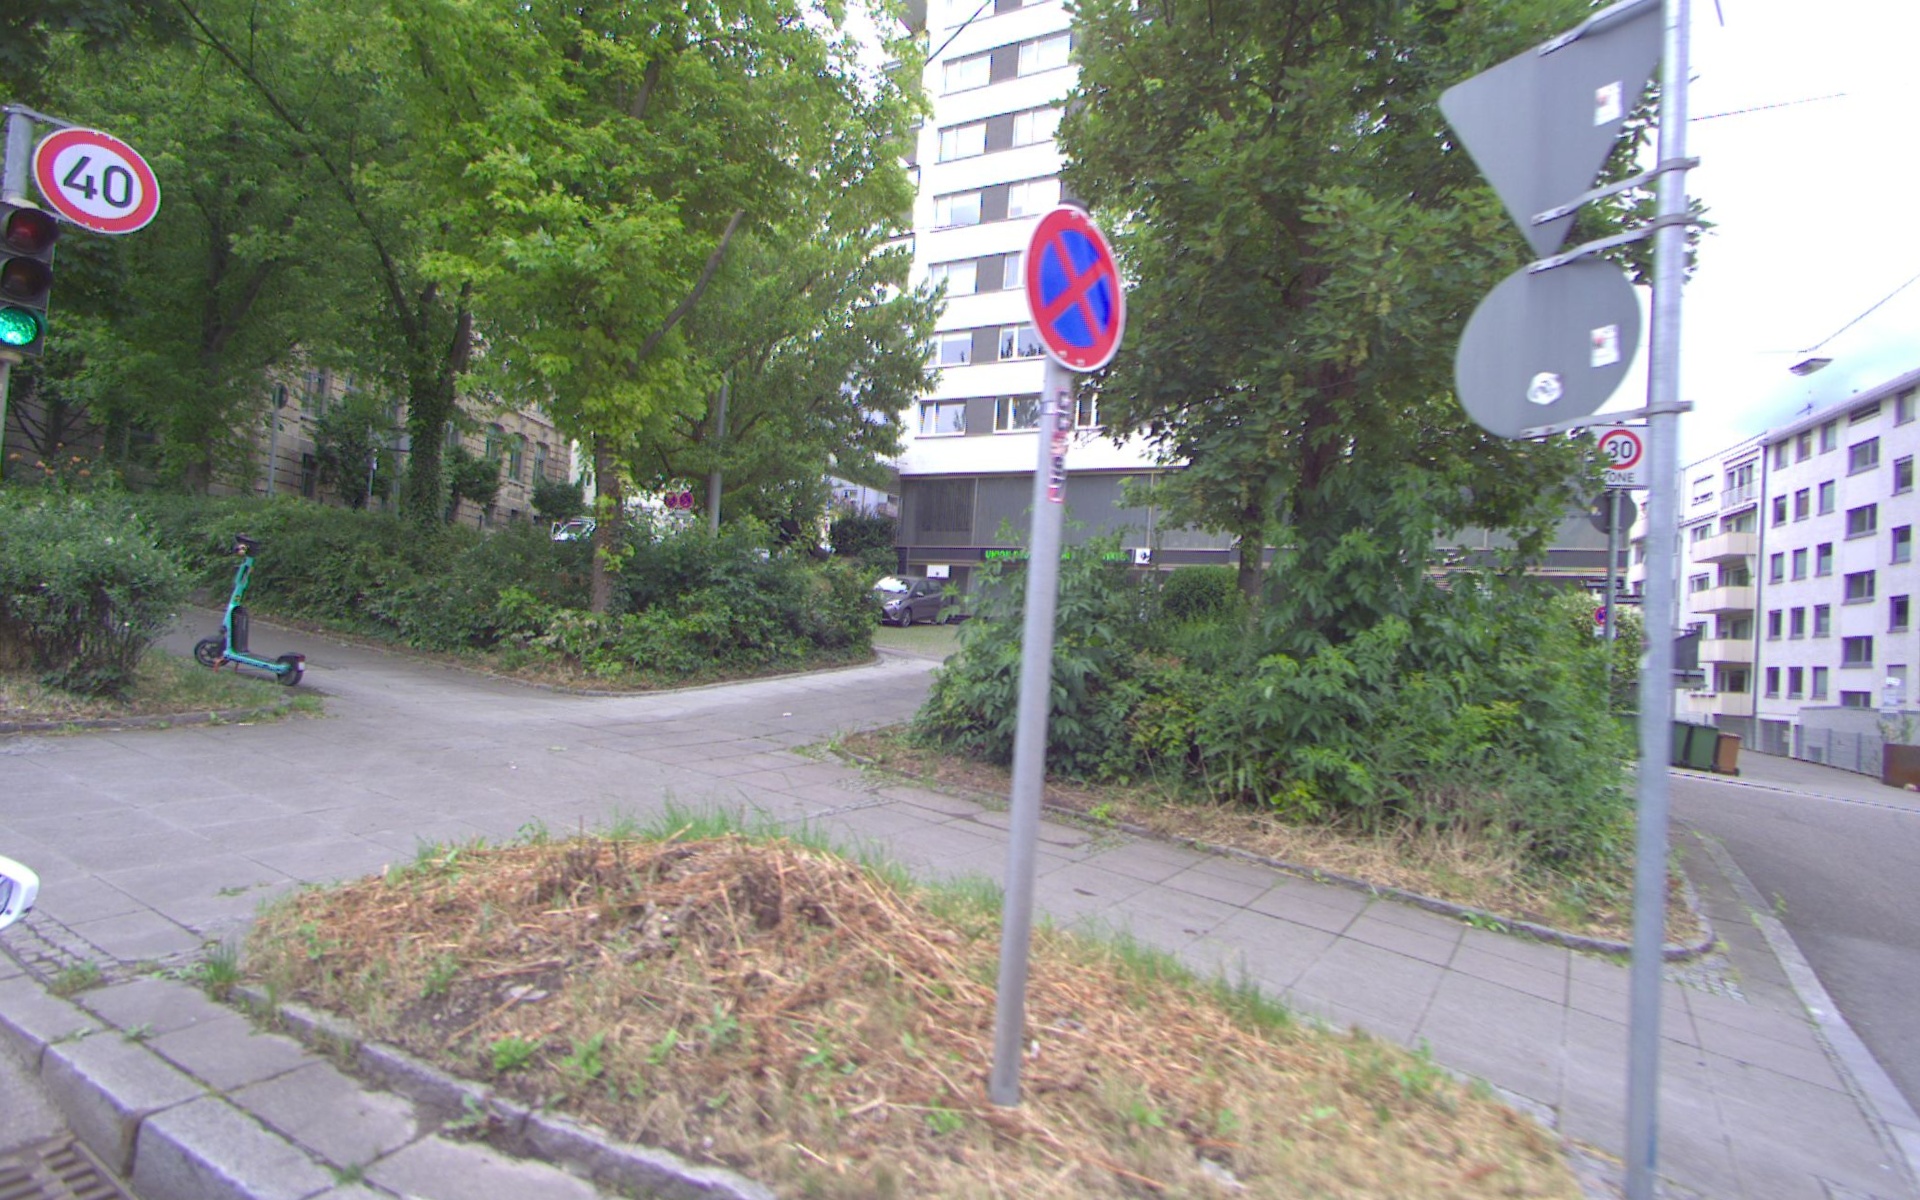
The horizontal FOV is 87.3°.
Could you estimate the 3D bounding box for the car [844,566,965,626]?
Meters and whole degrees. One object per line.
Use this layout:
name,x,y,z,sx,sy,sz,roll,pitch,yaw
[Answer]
car,-1.685,-0.089,31.704,1.802,1.592,3.989,7,2,30

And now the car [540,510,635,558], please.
car,-18.588,-3.249,50.499,2.136,1.959,5.215,4,1,9

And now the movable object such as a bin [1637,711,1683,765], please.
movable object such as a bin,15.594,3.069,22.428,0.565,1.082,0.554,7,0,13

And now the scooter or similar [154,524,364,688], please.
scooter or similar,-6.157,0.050,8.841,1.528,1.225,0.632,7,0,19

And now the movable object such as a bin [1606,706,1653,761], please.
movable object such as a bin,15.003,2.989,22.557,0.599,1.092,0.554,7,0,13

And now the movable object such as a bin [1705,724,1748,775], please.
movable object such as a bin,17.281,3.365,22.675,0.485,1.030,0.547,7,0,13

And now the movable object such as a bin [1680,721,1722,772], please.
movable object such as a bin,16.772,3.308,22.791,0.485,1.037,0.547,7,0,13

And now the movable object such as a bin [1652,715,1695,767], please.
movable object such as a bin,16.245,3.196,22.903,0.528,1.054,0.536,7,0,13
